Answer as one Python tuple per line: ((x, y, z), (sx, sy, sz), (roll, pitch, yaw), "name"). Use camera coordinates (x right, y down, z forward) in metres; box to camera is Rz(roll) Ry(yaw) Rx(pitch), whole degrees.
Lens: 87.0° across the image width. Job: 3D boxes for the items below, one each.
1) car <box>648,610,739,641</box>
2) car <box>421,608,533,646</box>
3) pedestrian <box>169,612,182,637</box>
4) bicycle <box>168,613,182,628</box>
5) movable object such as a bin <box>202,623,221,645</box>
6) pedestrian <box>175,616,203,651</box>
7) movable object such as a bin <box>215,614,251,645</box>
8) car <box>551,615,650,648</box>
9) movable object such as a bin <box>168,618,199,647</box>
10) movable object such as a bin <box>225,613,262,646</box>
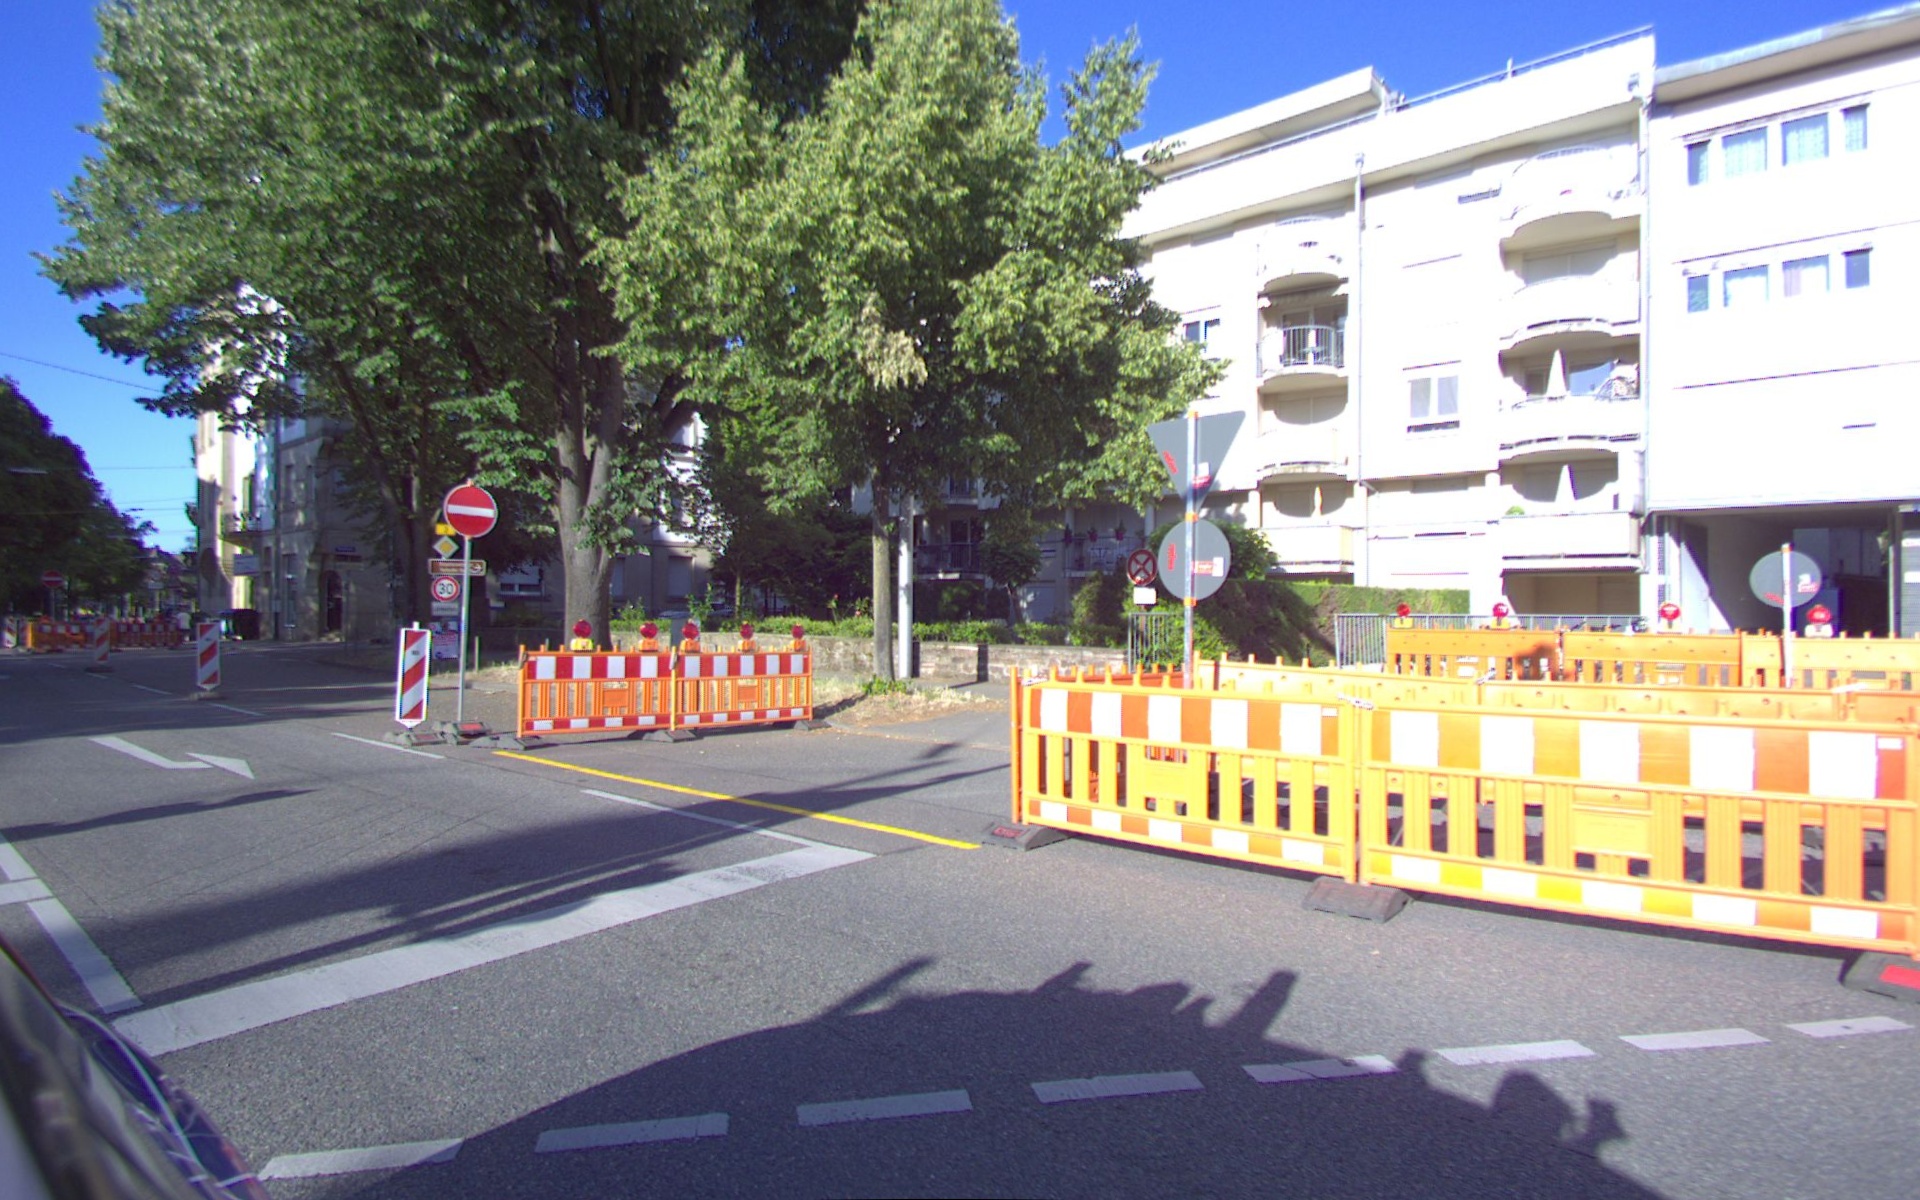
((-13.348, 1.251, 50.801), (2.001, 1.497, 3.942), (-1, -2, 44), "car")
((-20.968, 1.153, 44.019), (2.001, 1.564, 3.942), (-1, -2, 44), "car")
((-49.810, 1.572, 64.247), (0.591, 1.567, 0.617), (-1, 0, -41), "pedestrian")
((-49.869, 1.318, 64.287), (0.592, 0.939, 1.476), (-1, 0, -40), "bicycle")
((-36.276, 1.644, 49.054), (0.764, 1.049, 0.629), (-1, 0, 45), "movable object such as a bin")
((-36.779, 1.605, 48.289), (0.915, 1.615, 0.813), (-1, 0, 37), "pedestrian")
((-34.071, 1.376, 47.429), (1.406, 1.442, 1.071), (-1, 0, 40), "movable object such as a bin")
((-16.850, 1.463, 47.504), (2.001, 1.497, 3.942), (-1, -2, 44), "car")
((-40.056, 1.646, 52.200), (1.067, 1.442, 1.411), (-1, 0, -30), "movable object such as a bin")
((-32.870, 1.356, 46.412), (1.344, 1.442, 1.071), (-1, 0, 40), "movable object such as a bin")
